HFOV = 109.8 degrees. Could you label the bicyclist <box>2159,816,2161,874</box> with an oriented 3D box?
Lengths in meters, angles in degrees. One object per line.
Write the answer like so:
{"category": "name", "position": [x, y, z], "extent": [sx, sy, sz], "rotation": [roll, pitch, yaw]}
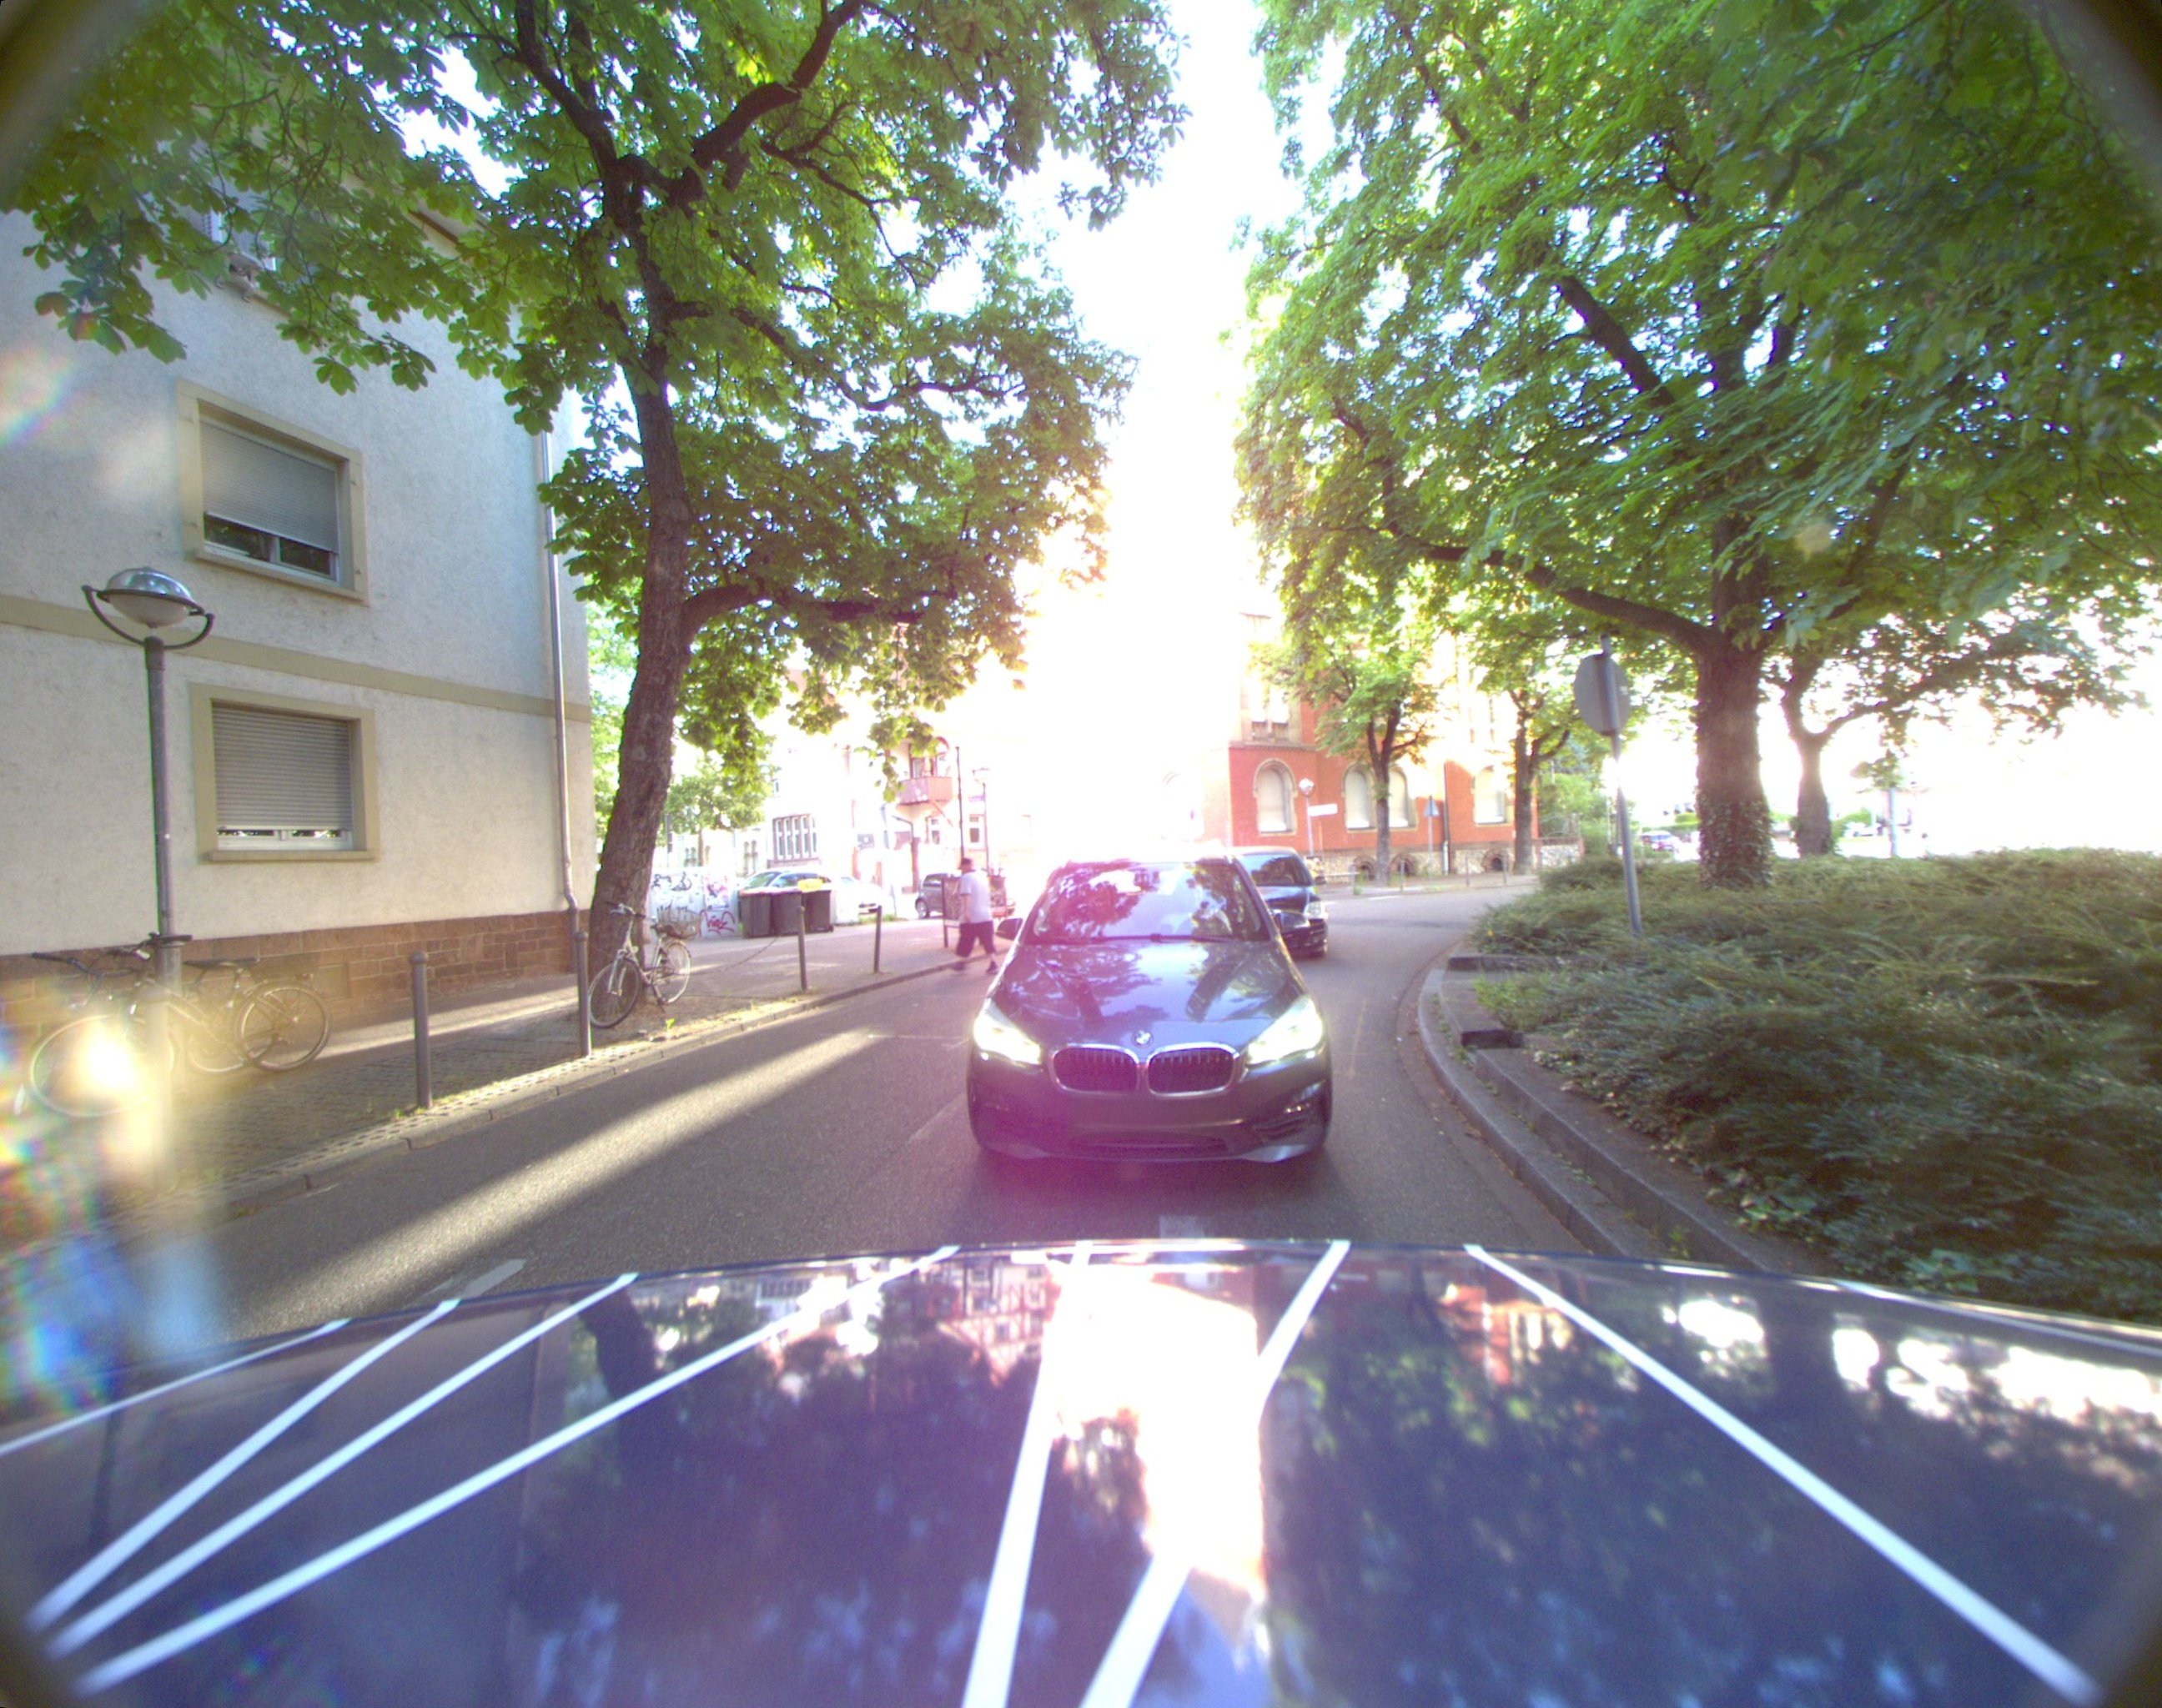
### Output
{"category": "bicyclist", "position": [29.361, -0.252, 20.172], "extent": [0.597, 1.564, 0.556], "rotation": [-3, 0, 20]}

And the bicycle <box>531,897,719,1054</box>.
{"category": "bicycle", "position": [-4.598, 1.160, 7.866], "extent": [0.767, 1.297, 1.903], "rotation": [-3, 0, -1]}

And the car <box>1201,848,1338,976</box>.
{"category": "car", "position": [2.815, 0.774, 11.880], "extent": [1.678, 1.619, 3.690], "rotation": [-3, 0, 10]}

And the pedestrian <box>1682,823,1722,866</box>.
{"category": "pedestrian", "position": [24.632, -0.366, 30.166], "extent": [0.905, 1.625, 0.725], "rotation": [-5, 0, -13]}

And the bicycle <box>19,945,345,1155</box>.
{"category": "bicycle", "position": [-6.363, 1.314, 5.525], "extent": [0.334, 1.087, 1.636], "rotation": [-3, 0, 1]}

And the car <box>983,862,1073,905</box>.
{"category": "car", "position": [-2.035, 1.117, 29.053], "extent": [3.207, 1.530, 1.495], "rotation": [-2, 0, 38]}

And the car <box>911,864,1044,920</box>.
{"category": "car", "position": [-3.267, 1.179, 23.646], "extent": [4.041, 1.543, 1.700], "rotation": [-3, -1, 39]}

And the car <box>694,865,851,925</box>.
{"category": "car", "position": [-8.802, 1.139, 21.951], "extent": [1.672, 1.417, 3.811], "rotation": [-3, 0, 36]}

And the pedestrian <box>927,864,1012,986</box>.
{"category": "pedestrian", "position": [-1.522, 0.959, 10.475], "extent": [0.944, 1.583, 0.643], "rotation": [-3, 0, 8]}

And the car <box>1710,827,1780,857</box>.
{"category": "car", "position": [35.217, -0.656, 40.411], "extent": [1.733, 1.409, 4.006], "rotation": [-3, 0, 25]}

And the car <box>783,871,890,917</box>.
{"category": "car", "position": [-9.338, 1.520, 28.903], "extent": [4.175, 1.543, 1.809], "rotation": [-3, -1, 39]}

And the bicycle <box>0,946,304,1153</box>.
{"category": "bicycle", "position": [-6.743, 1.328, 5.570], "extent": [0.334, 1.087, 1.636], "rotation": [-3, 0, 1]}

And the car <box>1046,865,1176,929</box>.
{"category": "car", "position": [0.675, 1.039, 19.203], "extent": [1.475, 1.381, 3.393], "rotation": [-3, 0, -34]}

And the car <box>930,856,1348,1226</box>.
{"category": "car", "position": [0.466, 0.850, 5.490], "extent": [1.792, 1.569, 4.262], "rotation": [-2, 0, 6]}
